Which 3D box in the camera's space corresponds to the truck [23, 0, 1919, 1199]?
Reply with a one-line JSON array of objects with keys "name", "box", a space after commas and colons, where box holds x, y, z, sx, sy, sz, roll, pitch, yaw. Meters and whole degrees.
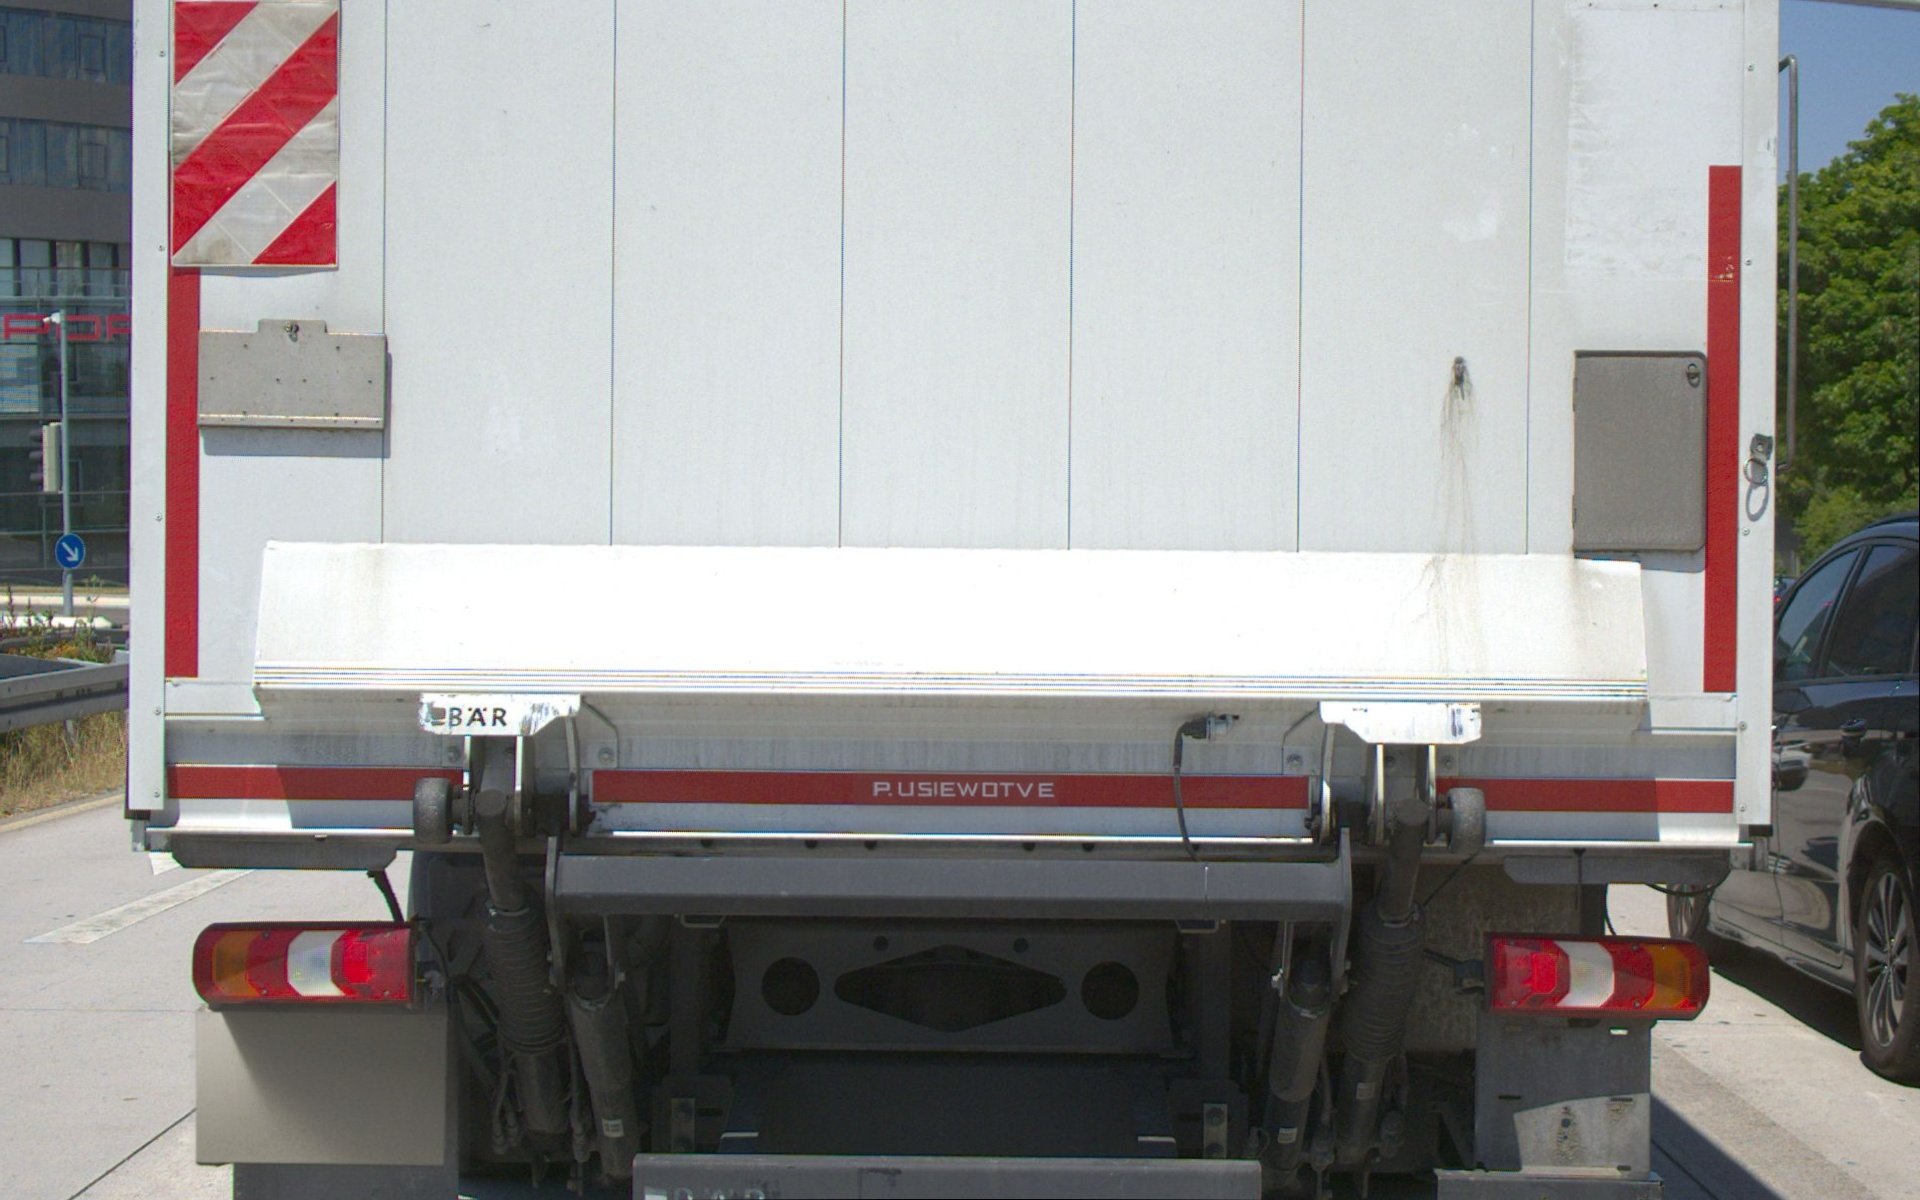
[{"name": "truck", "box": [-0.051, -0.578, 9.731, 2.769, 3.846, 9.371, 0, 1, -1]}]

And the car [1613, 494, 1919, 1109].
[{"name": "car", "box": [3.449, 0.527, 11.081, 1.783, 1.634, 4.647, 1, 1, 0]}]

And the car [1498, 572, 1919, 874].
[{"name": "car", "box": [4.080, 0.563, 18.577, 1.768, 1.405, 4.609, 1, 1, 2]}]
